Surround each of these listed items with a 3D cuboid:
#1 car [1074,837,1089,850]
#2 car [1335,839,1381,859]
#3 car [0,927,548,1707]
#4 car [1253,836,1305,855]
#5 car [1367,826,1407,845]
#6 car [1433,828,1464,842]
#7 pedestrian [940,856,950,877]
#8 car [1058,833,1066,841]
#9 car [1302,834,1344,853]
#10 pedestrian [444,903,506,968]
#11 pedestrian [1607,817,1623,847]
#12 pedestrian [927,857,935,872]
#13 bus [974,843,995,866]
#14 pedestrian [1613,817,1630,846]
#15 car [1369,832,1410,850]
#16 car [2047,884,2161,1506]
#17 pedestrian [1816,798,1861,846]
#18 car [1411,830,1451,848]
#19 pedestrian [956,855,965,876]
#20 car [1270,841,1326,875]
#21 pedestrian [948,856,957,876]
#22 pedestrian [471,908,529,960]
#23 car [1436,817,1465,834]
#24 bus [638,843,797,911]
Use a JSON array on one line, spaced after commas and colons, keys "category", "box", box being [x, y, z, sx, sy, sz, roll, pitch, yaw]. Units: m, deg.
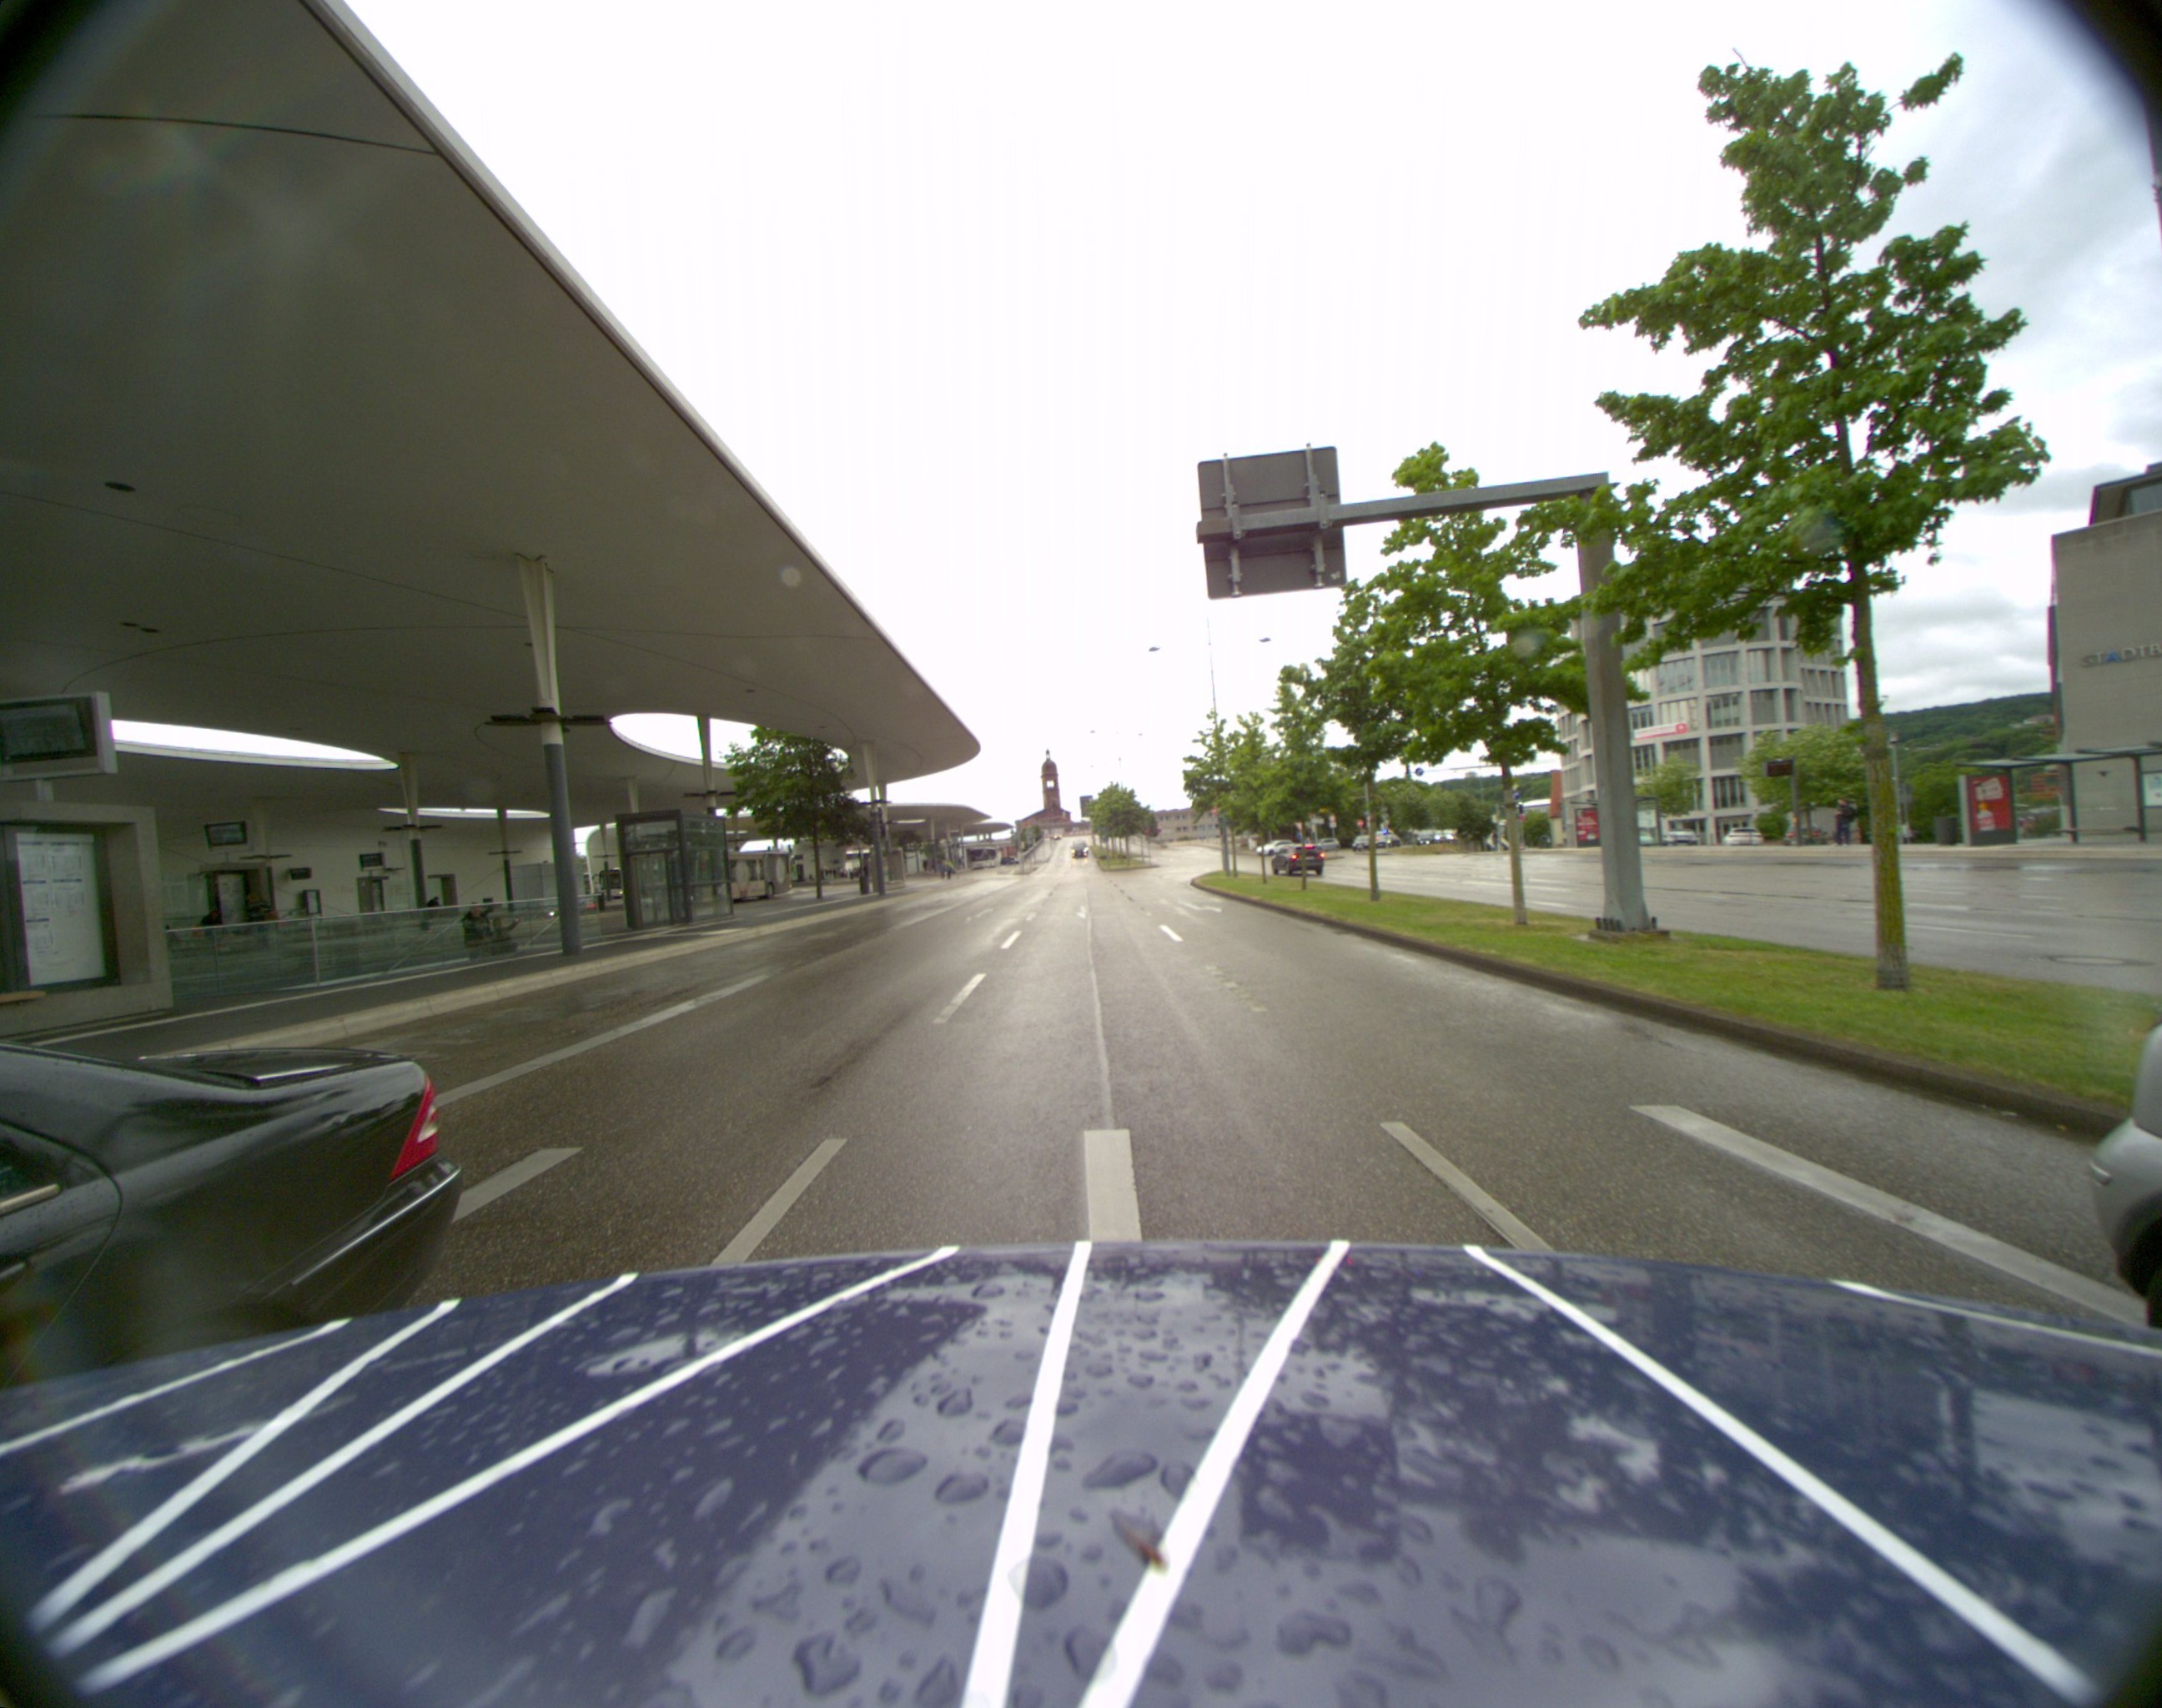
[{"category": "car", "box": [0.081, -1.377, 101.407, 1.704, 1.656, 3.998, -3, 1, -2]}, {"category": "car", "box": [27.362, -0.544, 74.956, 4.925, 1.702, 2.190, -3, 1, -43]}, {"category": "car", "box": [-2.806, 1.164, 0.367, 1.750, 1.472, 4.433, -8, 2, 0]}, {"category": "car", "box": [20.754, -0.924, 79.729, 4.921, 1.702, 2.192, -3, 1, -21]}, {"category": "car", "box": [35.583, -2.160, 88.326, 5.043, 2.002, 2.304, -3, 1, -43]}, {"category": "car", "box": [49.133, -2.561, 101.579, 4.925, 1.702, 2.190, -3, 1, -45]}, {"category": "pedestrian", "box": [-10.831, 1.012, 60.371, 0.576, 1.614, 0.588, -3, 1, 1]}, {"category": "car", "box": [-4.485, -3.995, 180.030, 1.704, 1.656, 3.998, -3, 1, -2]}, {"category": "car", "box": [26.134, -1.104, 82.059, 4.004, 1.783, 1.996, -3, 1, -24]}, {"category": "pedestrian", "box": [-12.736, 1.699, 15.977, 0.693, 1.244, 0.669, -3, 1, 1]}, {"category": "pedestrian", "box": [29.507, -1.216, 42.014, 0.504, 1.625, 0.502, -2, 1, 1]}, {"category": "pedestrian", "box": [-17.639, 1.227, 89.160, 0.723, 1.621, 0.753, -3, 1, 0]}, {"category": "bus", "box": [-14.298, 0.061, 113.269, 2.675, 3.111, 9.712, -3, 0, -5]}, {"category": "pedestrian", "box": [30.056, -1.243, 42.247, 0.520, 1.625, 0.536, -2, 1, 1]}, {"category": "car", "box": [33.311, -1.413, 81.973, 4.925, 1.702, 2.190, -3, 1, -43]}, {"category": "car", "box": [3.333, 0.787, 0.100, 1.627, 1.450, 3.735, -3, 0, 0]}, {"category": "pedestrian", "box": [28.925, -1.211, 29.023, 0.787, 1.750, 0.972, -3, 1, -28]}, {"category": "car", "box": [38.903, -1.674, 84.399, 4.925, 1.702, 2.190, -3, 1, -43]}, {"category": "pedestrian", "box": [-9.571, 0.927, 60.214, 0.557, 1.614, 0.552, -3, 1, 1]}, {"category": "car", "box": [11.598, 0.170, 40.871, 1.826, 1.630, 4.600, -3, 0, 3]}, {"category": "pedestrian", "box": [-10.187, 0.952, 60.337, 0.557, 1.614, 0.552, -3, 1, 1]}, {"category": "pedestrian", "box": [-11.817, 1.622, 15.469, 0.622, 0.957, 0.638, -3, 1, 1]}, {"category": "car", "box": [45.347, -3.502, 93.162, 1.995, 2.002, 4.007, -2, 1, 44]}, {"category": "bus", "box": [-19.755, 1.071, 42.656, 3.003, 3.088, 12.353, -3, 0, -1]}]
